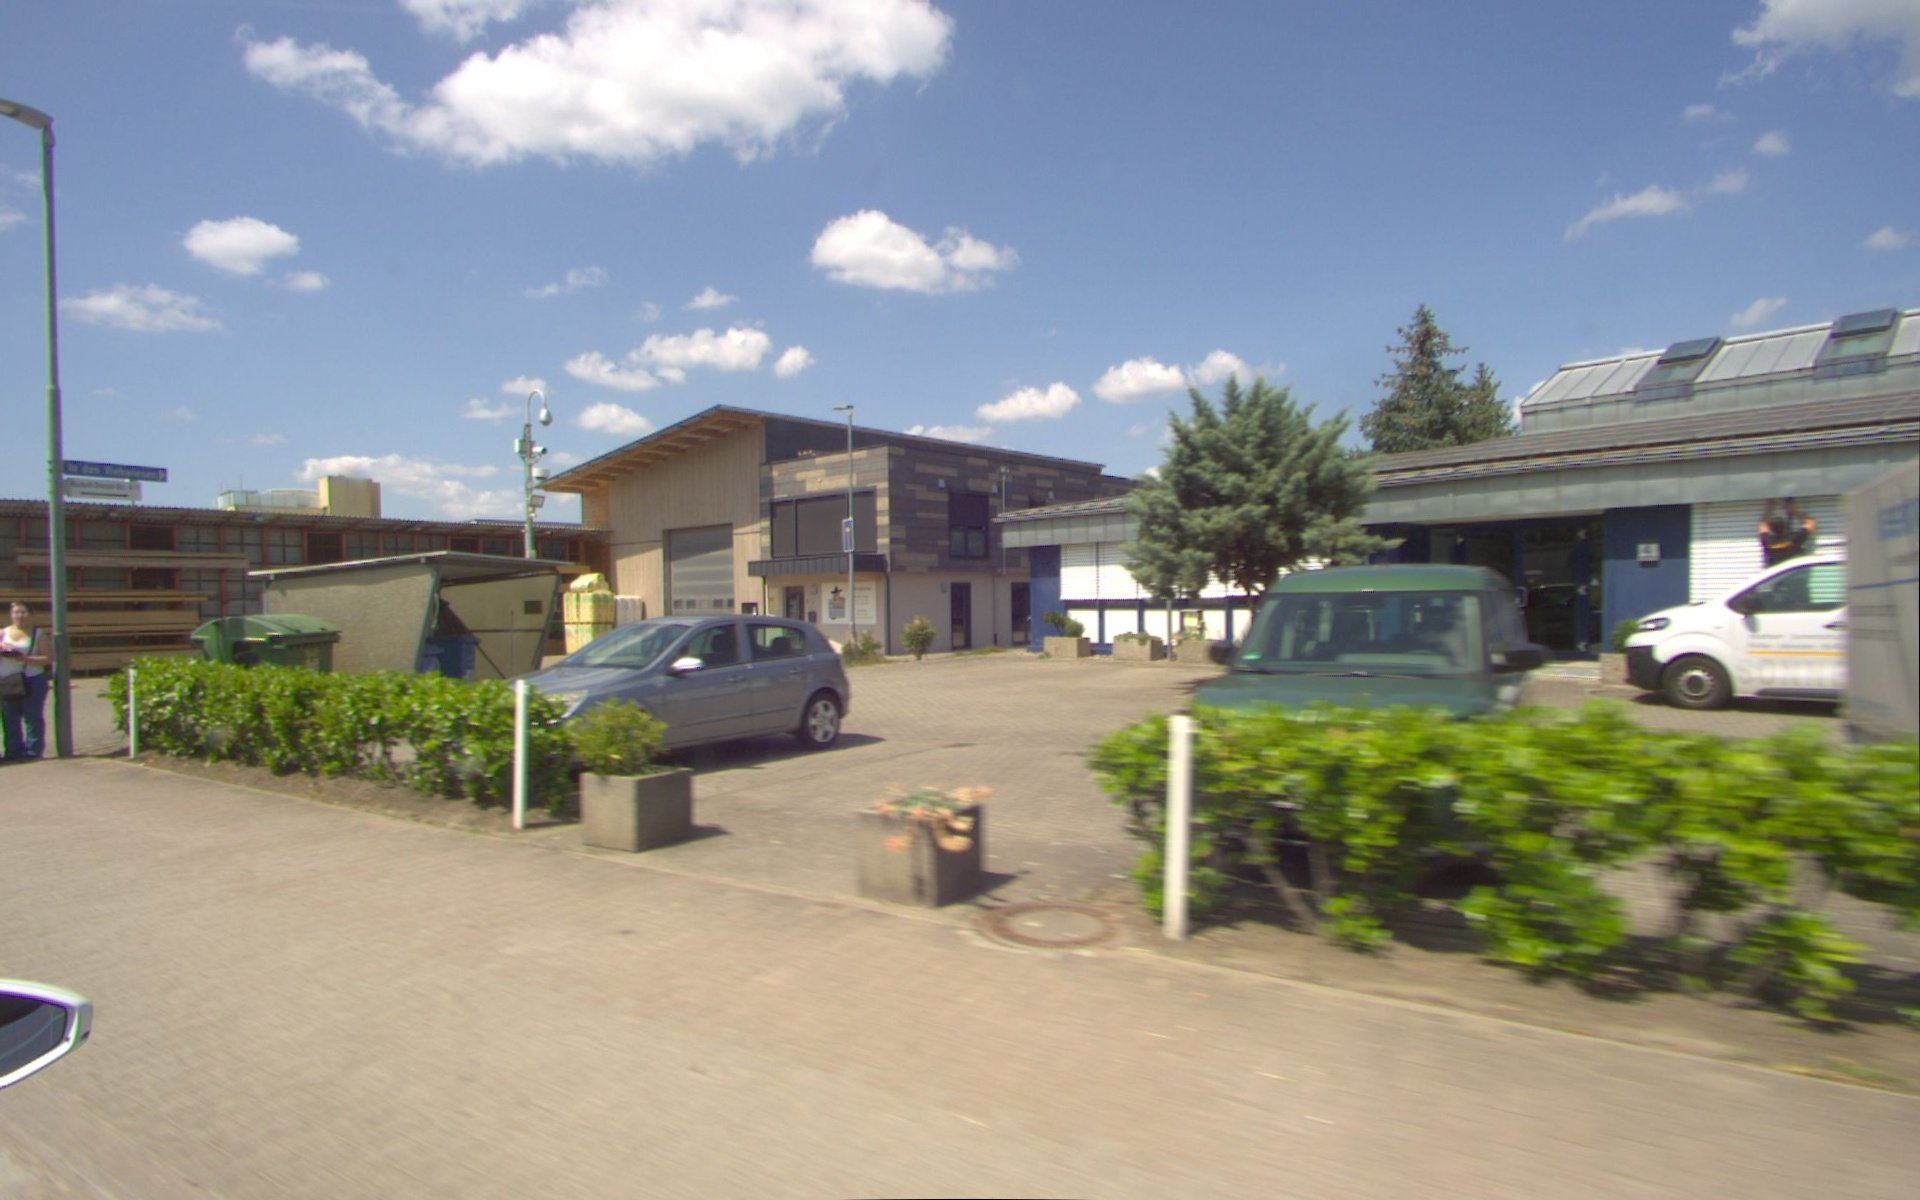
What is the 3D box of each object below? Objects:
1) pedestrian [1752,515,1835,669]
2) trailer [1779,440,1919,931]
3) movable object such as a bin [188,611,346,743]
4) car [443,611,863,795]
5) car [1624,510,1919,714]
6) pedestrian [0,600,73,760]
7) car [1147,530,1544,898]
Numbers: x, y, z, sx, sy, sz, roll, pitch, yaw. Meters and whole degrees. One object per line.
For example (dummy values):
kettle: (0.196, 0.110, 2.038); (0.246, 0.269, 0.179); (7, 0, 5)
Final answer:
pedestrian: (11.053, -0.091, 13.303); (0.680, 1.968, 0.714); (-2, 0, 31)
trailer: (5.693, 0.360, 5.020); (1.972, 2.040, 3.979); (-1, -1, 32)
movable object such as a bin: (-8.168, 0.878, 11.876); (1.029, 1.477, 1.267); (0, -1, -5)
car: (-2.870, 0.849, 10.132); (1.792, 1.474, 3.837); (0, -1, 33)
car: (10.644, 0.102, 11.499); (2.084, 2.154, 4.673); (-3, 1, -42)
pedestrian: (-9.471, 0.796, 10.155); (0.503, 1.560, 0.534); (-2, 0, 32)
car: (2.873, 0.519, 6.772); (1.775, 1.655, 4.204); (-3, 0, 31)
